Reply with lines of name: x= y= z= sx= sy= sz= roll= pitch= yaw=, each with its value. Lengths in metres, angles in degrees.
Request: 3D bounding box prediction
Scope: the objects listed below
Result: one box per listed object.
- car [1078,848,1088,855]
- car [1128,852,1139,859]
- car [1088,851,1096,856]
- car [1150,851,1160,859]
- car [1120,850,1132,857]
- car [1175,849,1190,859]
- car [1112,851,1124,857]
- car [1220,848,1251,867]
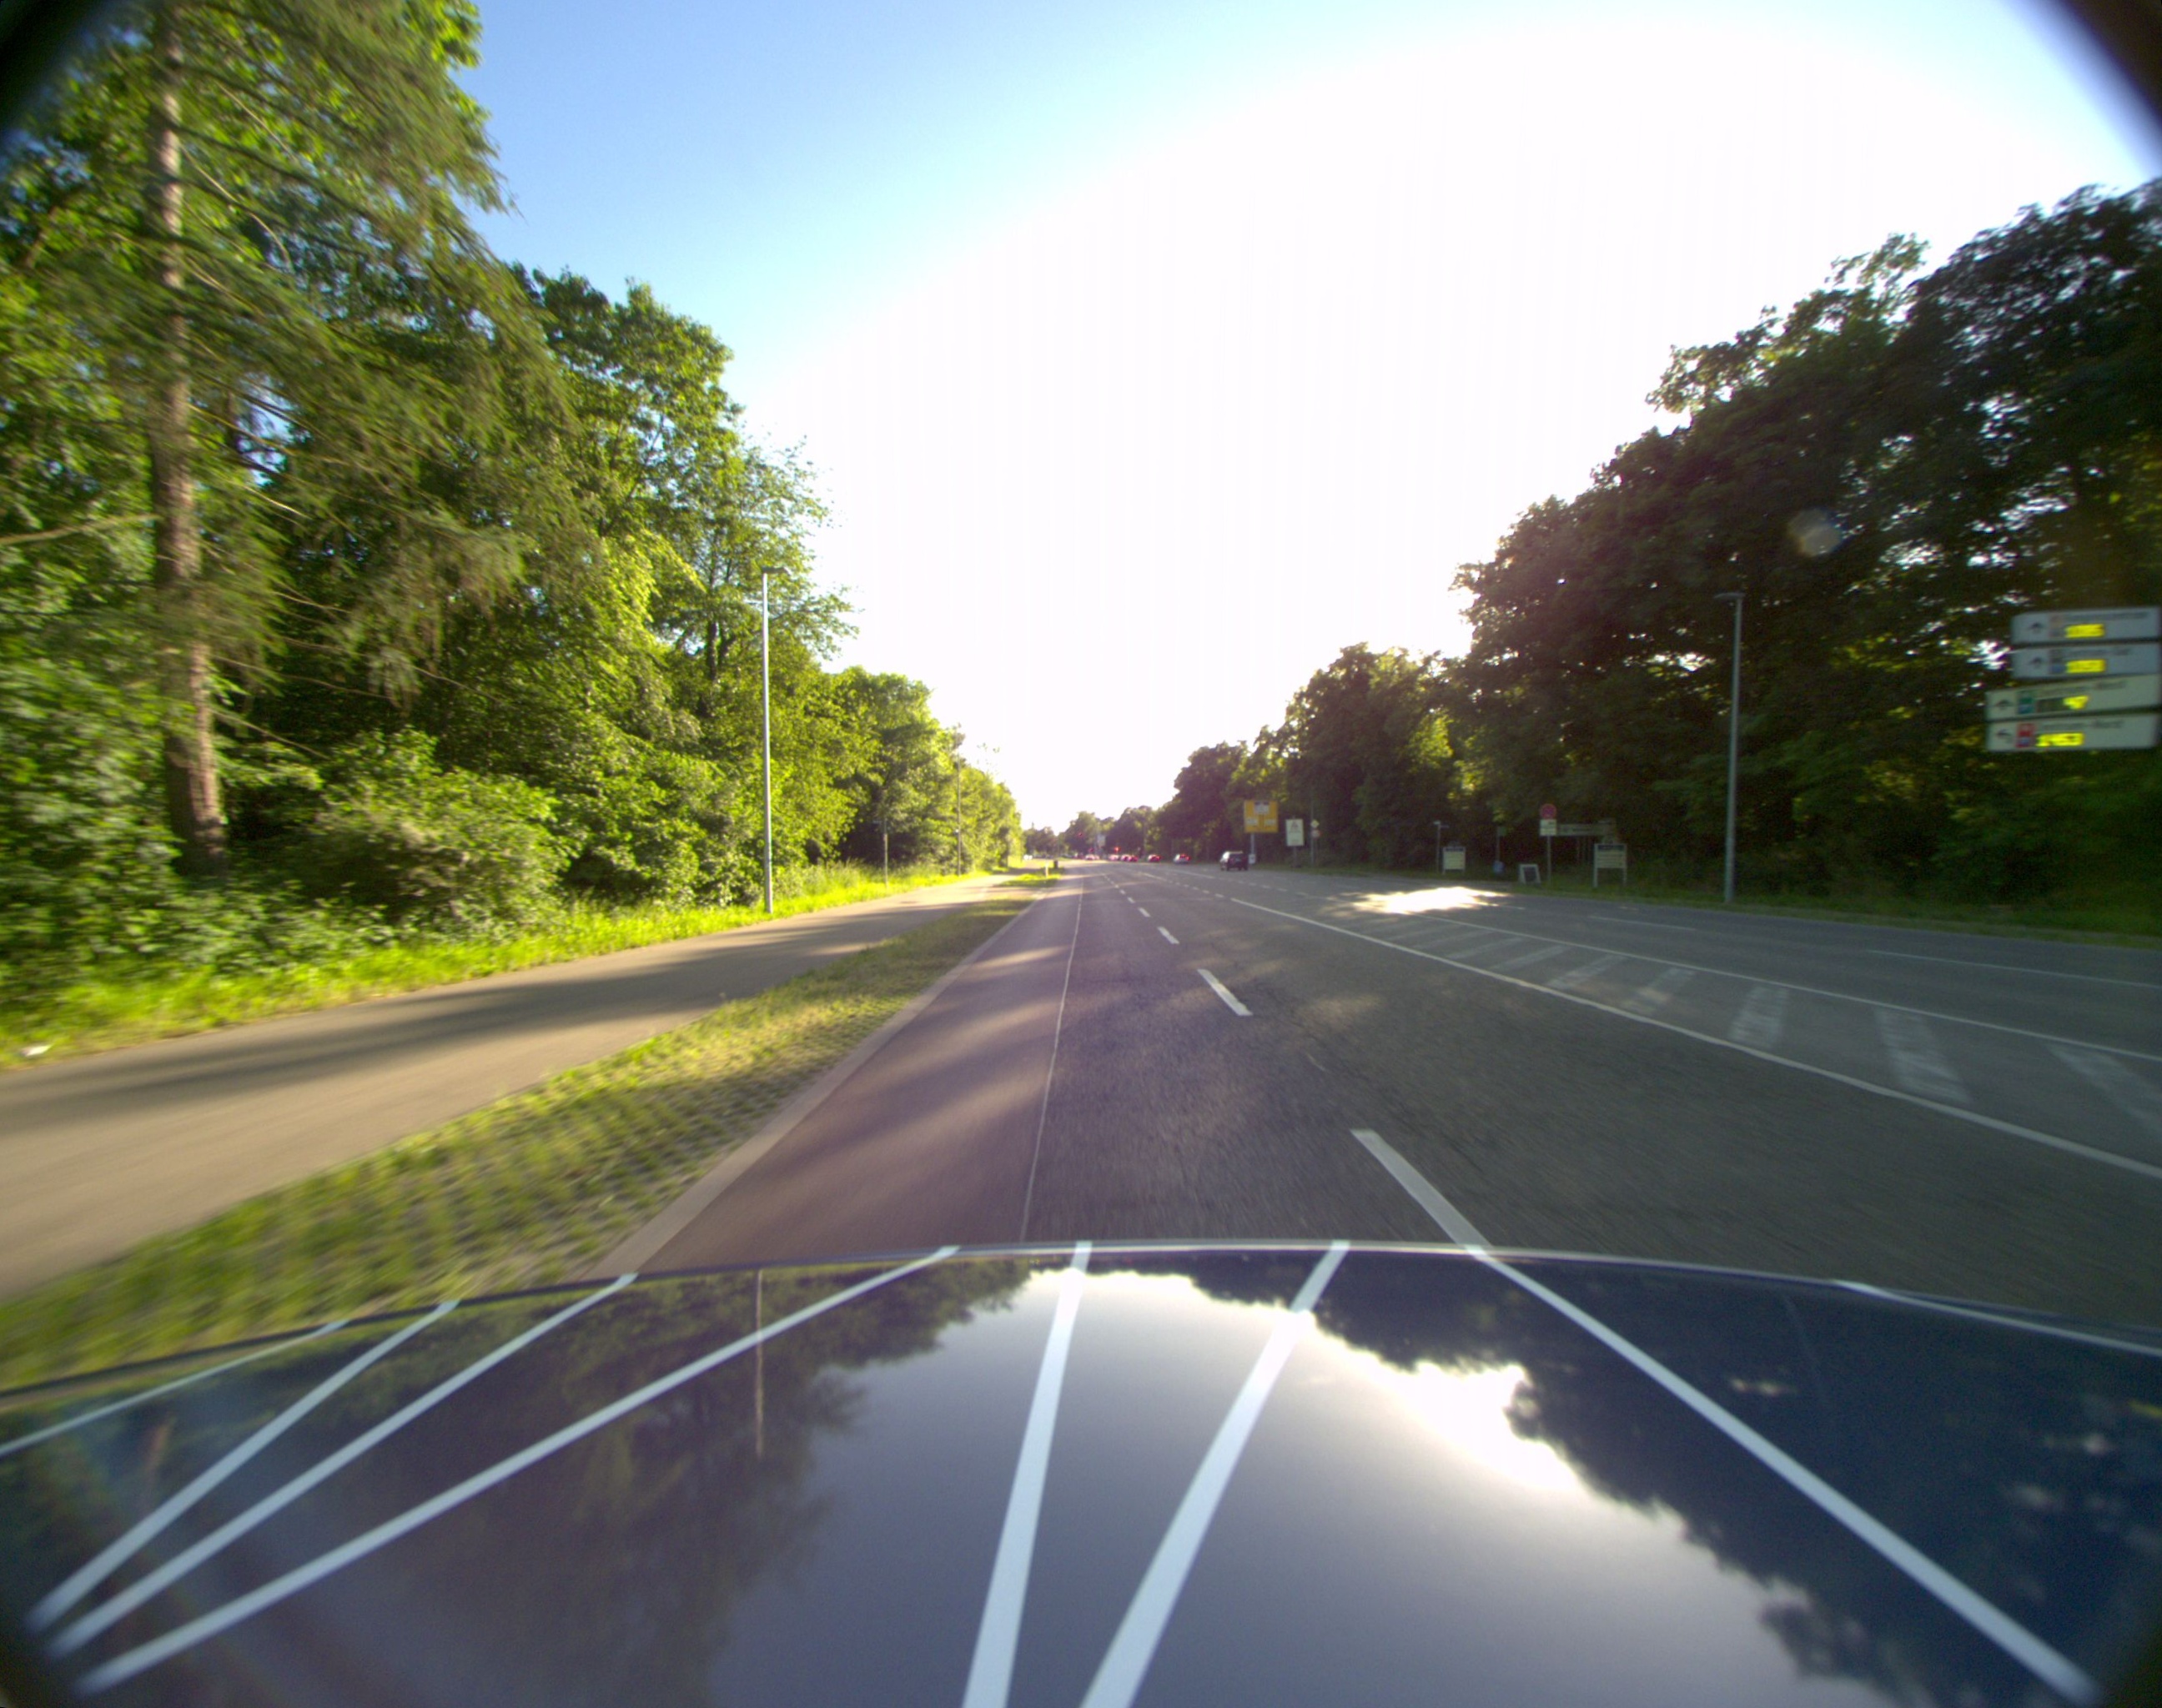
car: x=0.520 y=-0.654 z=215.813 sx=2.000 sy=1.950 sz=4.644 roll=1 pitch=0 yaw=-9
car: x=11.935 y=0.271 z=172.372 sx=1.999 sy=1.555 sz=4.336 roll=0 pitch=0 yaw=-4
car: x=2.796 y=-0.123 z=194.982 sx=1.749 sy=1.227 sz=4.671 roll=0 pitch=0 yaw=-4
car: x=14.362 y=0.108 z=147.349 sx=1.829 sy=1.536 sz=4.257 roll=-1 pitch=0 yaw=3
car: x=10.686 y=-0.130 z=180.110 sx=2.000 sy=1.627 sz=4.840 roll=0 pitch=0 yaw=-6
car: x=15.924 y=0.003 z=119.294 sx=1.829 sy=1.495 sz=4.306 roll=-1 pitch=0 yaw=1
car: x=9.110 y=-0.021 z=187.120 sx=2.000 sy=1.555 sz=4.645 roll=3 pitch=0 yaw=-6
car: x=13.354 y=0.302 z=65.754 sx=1.829 sy=1.580 sz=4.351 roll=-1 pitch=0 yaw=1
